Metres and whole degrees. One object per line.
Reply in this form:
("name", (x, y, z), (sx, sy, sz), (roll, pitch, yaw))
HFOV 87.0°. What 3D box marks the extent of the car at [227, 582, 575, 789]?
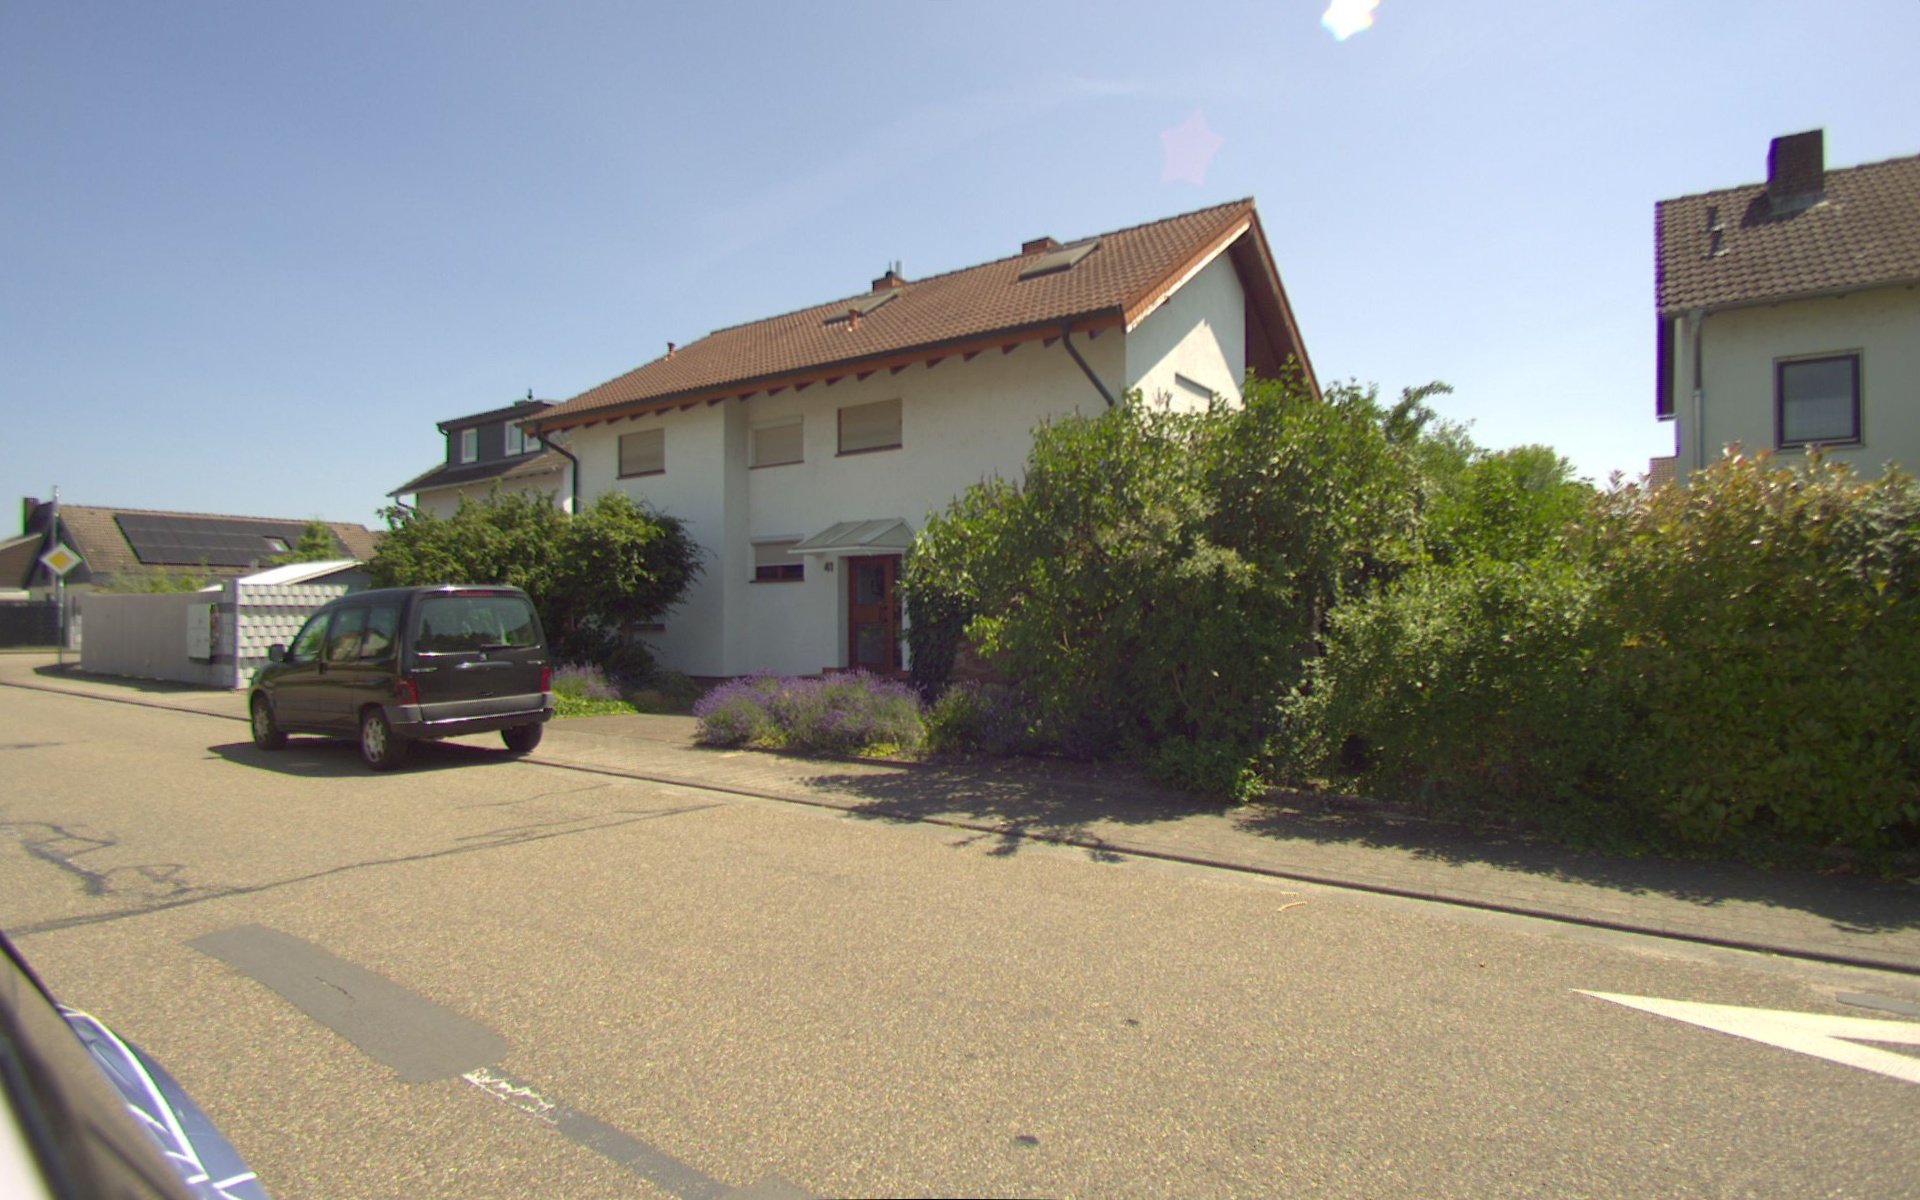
("car", (-6.130, 0.804, 10.968), (4.044, 1.860, 1.703), (-1, -1, 35))
